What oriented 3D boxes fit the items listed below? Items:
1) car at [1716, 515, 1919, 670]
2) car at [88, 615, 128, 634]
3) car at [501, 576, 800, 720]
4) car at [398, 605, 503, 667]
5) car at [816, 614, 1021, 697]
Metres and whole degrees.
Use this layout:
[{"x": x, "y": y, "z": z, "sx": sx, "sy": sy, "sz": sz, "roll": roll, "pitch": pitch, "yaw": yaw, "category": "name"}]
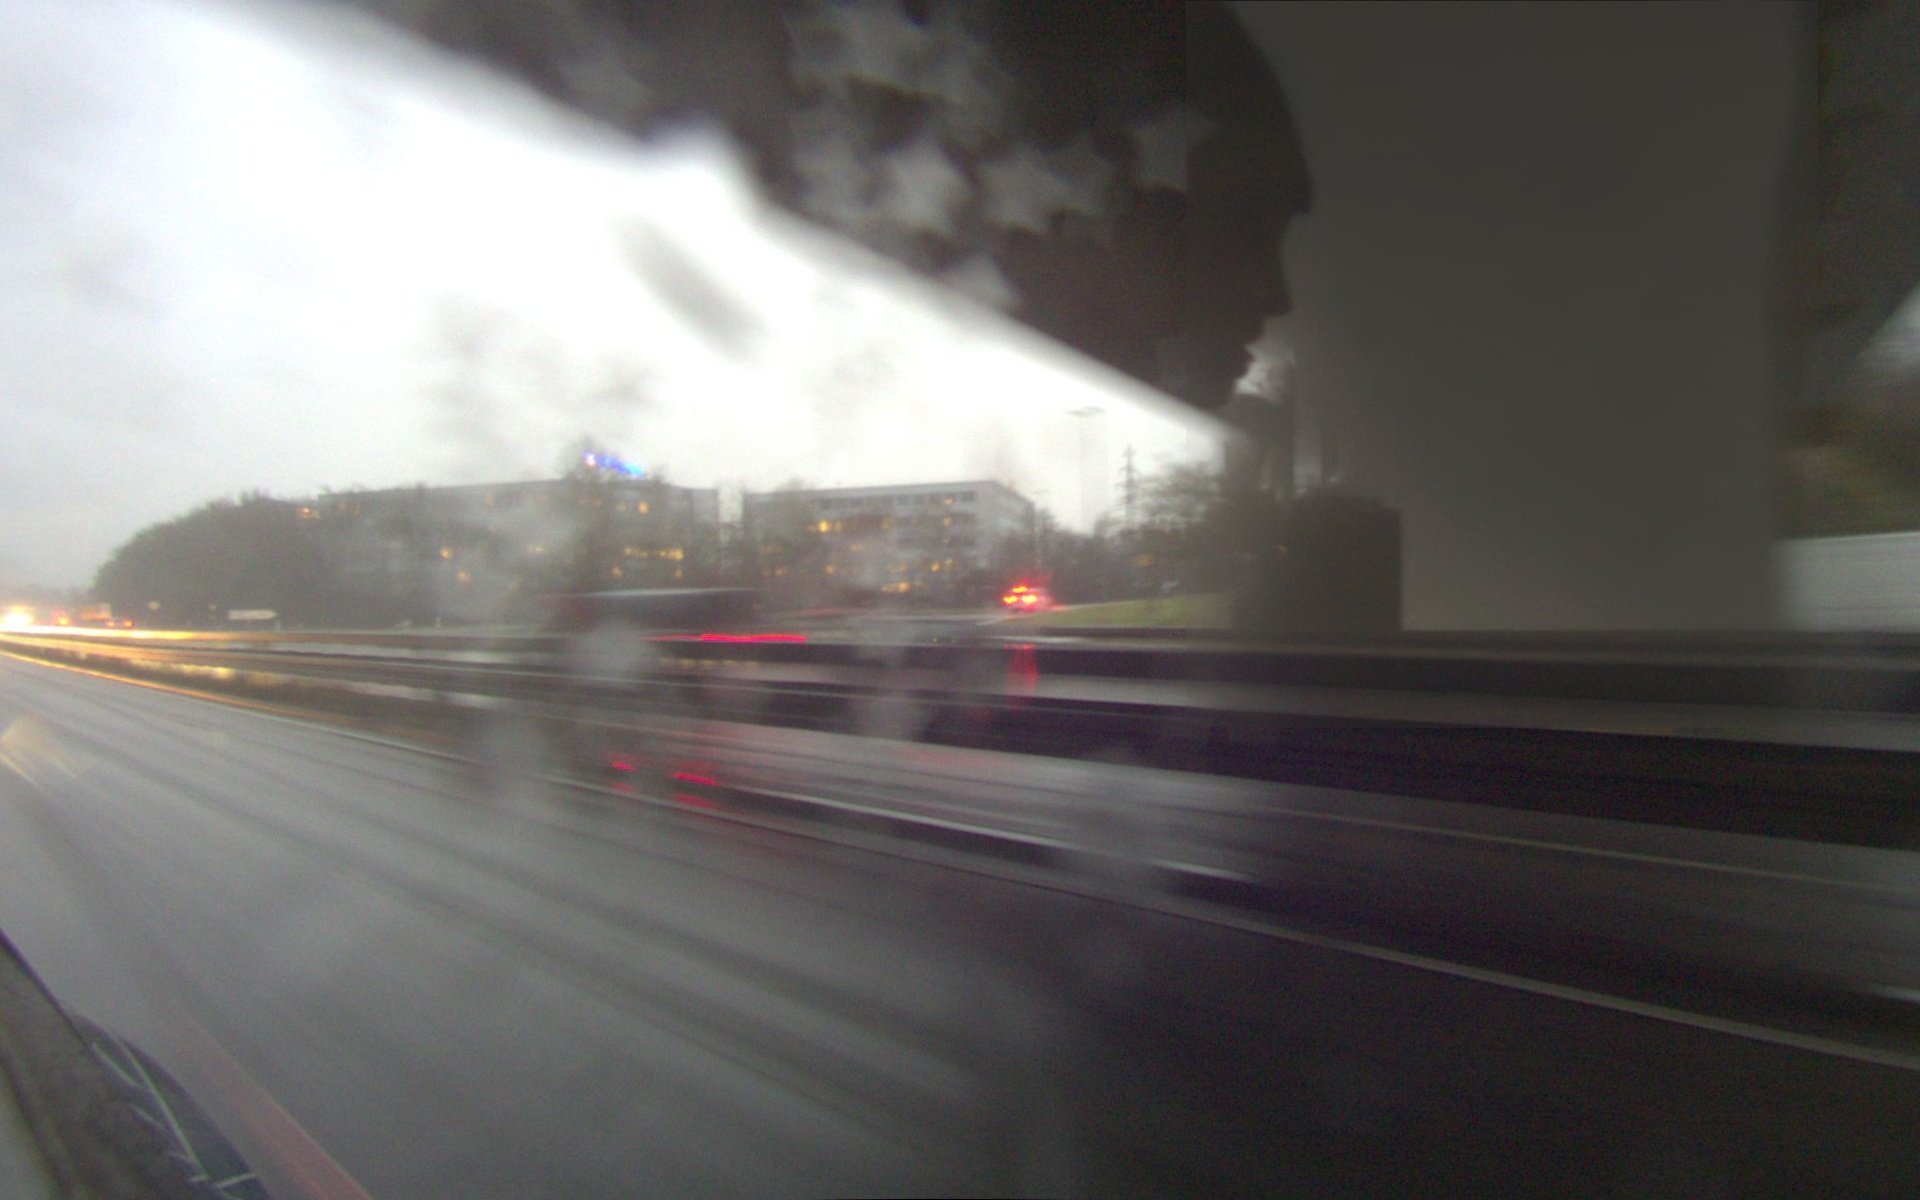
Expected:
[{"x": 17.610, "y": -0.165, "z": 19.499, "sx": 4.579, "sy": 2.793, "sz": 2.166, "roll": -2, "pitch": 1, "yaw": 44, "category": "car"}, {"x": -84.974, "y": 2.486, "z": 100.936, "sx": 3.985, "sy": 1.697, "sz": 1.834, "roll": -2, "pitch": 1, "yaw": 31, "category": "car"}, {"x": -5.079, "y": 0.704, "z": 16.138, "sx": 5.266, "sy": 1.887, "sz": 1.973, "roll": -2, "pitch": 1, "yaw": 41, "category": "car"}, {"x": -18.574, "y": 1.304, "z": 36.839, "sx": 3.998, "sy": 2.028, "sz": 1.973, "roll": -2, "pitch": 1, "yaw": 41, "category": "car"}, {"x": -0.751, "y": 0.892, "z": 16.986, "sx": 3.365, "sy": 1.231, "sz": 1.420, "roll": -2, "pitch": -1, "yaw": 40, "category": "car"}]
